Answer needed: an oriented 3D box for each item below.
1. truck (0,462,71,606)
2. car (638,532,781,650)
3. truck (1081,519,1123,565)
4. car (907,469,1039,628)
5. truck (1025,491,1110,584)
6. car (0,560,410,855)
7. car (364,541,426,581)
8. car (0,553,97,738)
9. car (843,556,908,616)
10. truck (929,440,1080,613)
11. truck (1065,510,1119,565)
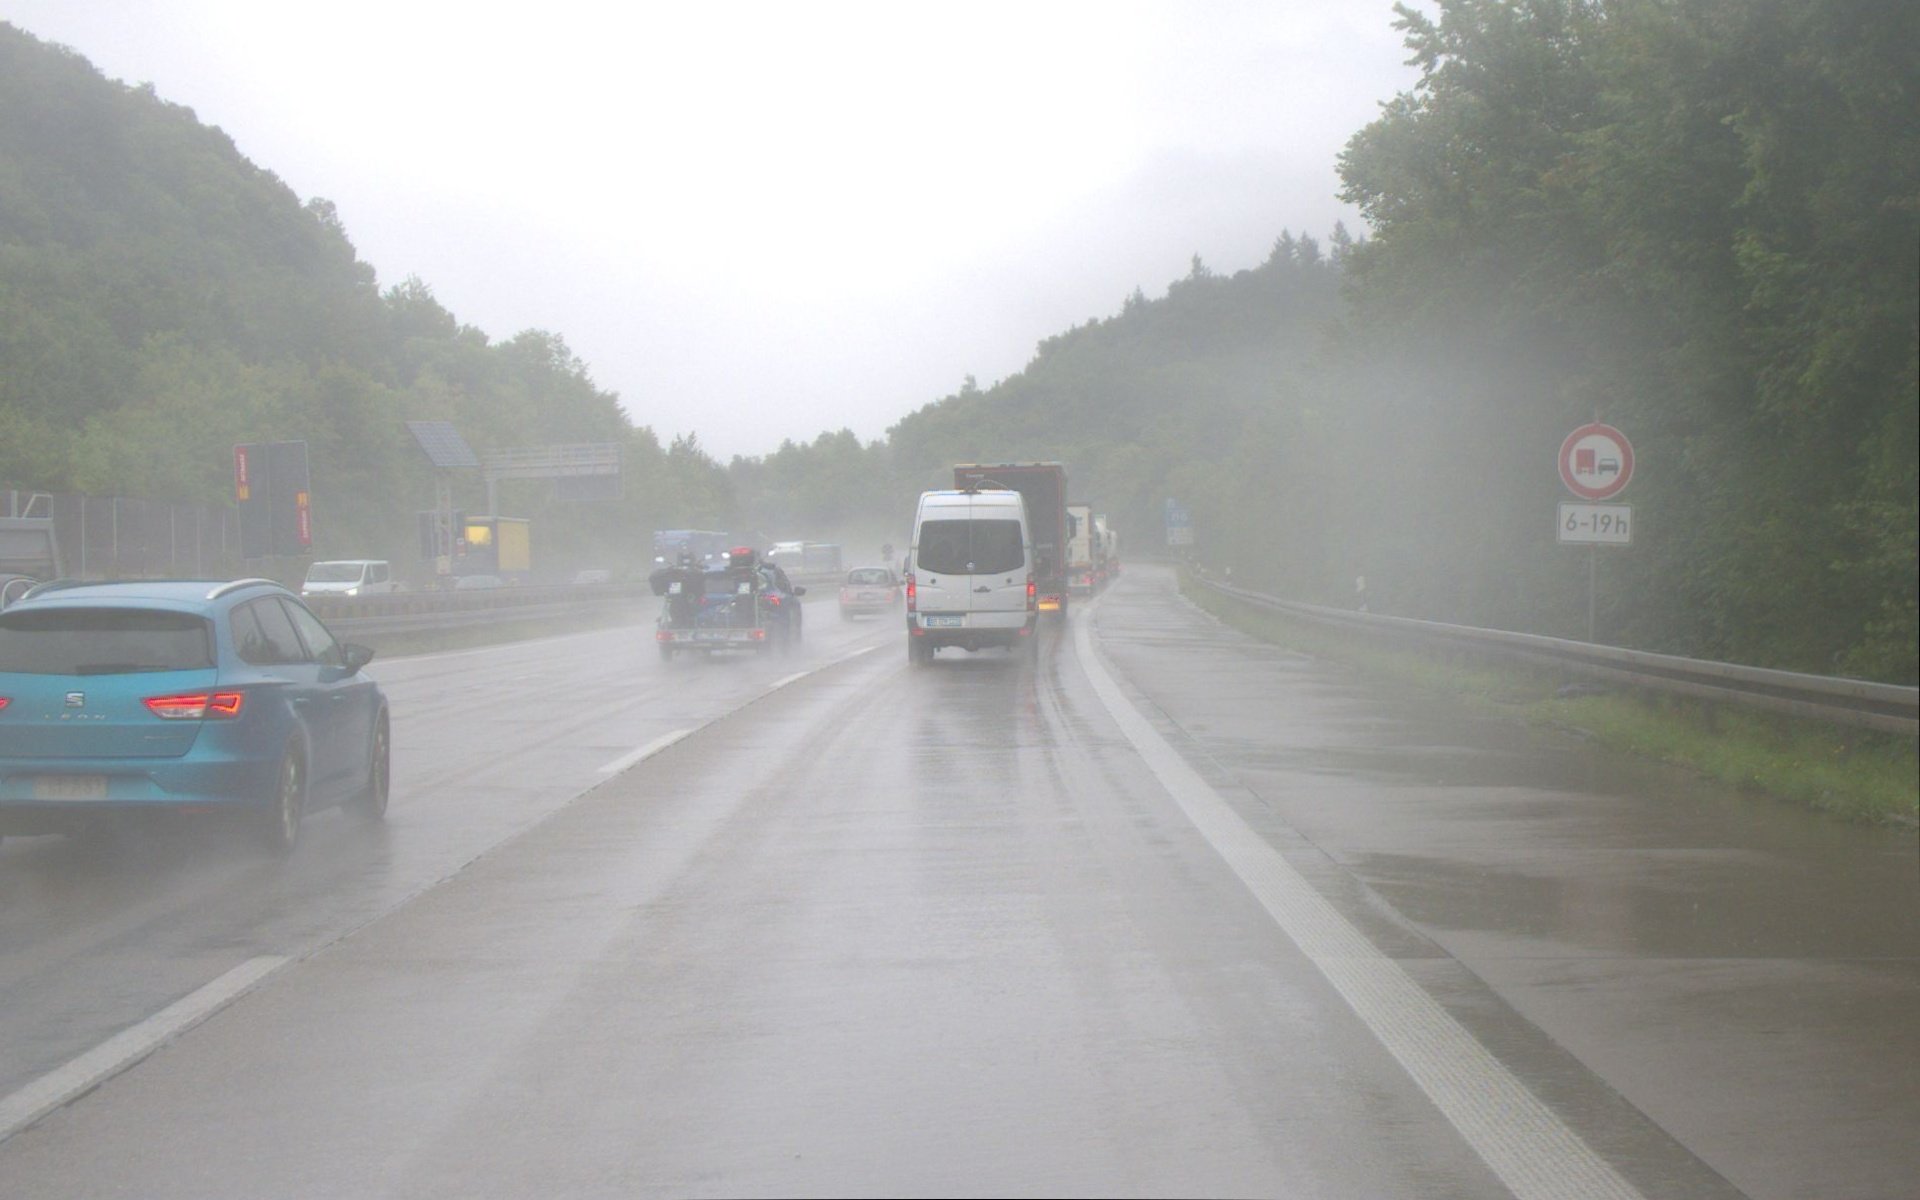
[{"bbox_3d":[-23.399,-1.535,78.526,2.774,3.304,11.515,1,1,2],"label":"truck"},{"bbox_3d":[-4.009,-0.171,55.571,1.868,1.804,4.188,1,1,2],"label":"car"},{"bbox_3d":[9.384,-3.857,228.339,2.585,2.971,9.026,1,1,1],"label":"truck"},{"bbox_3d":[0.256,-0.799,53.459,1.899,2.326,5.250,1,1,2],"label":"car"},{"bbox_3d":[4.799,-2.696,151.574,3.091,3.896,9.052,1,0,5],"label":"truck"},{"bbox_3d":[-4.188,0.476,18.248,1.856,1.334,4.351,1,1,0],"label":"car"},{"bbox_3d":[-24.028,-1.656,146.306,1.993,1.656,4.000,0,1,0],"label":"car"},{"bbox_3d":[-7.948,0.315,25.836,1.856,1.334,4.351,1,1,0],"label":"car"},{"bbox_3d":[-2.384,-0.423,97.610,1.614,1.622,4.188,1,1,2],"label":"car"},{"bbox_3d":[1.205,-1.943,86.063,3.385,3.954,8.667,-2,2,2],"label":"truck"},{"bbox_3d":[7.402,-3.459,191.580,2.586,2.971,9.024,1,1,5],"label":"truck"}]
